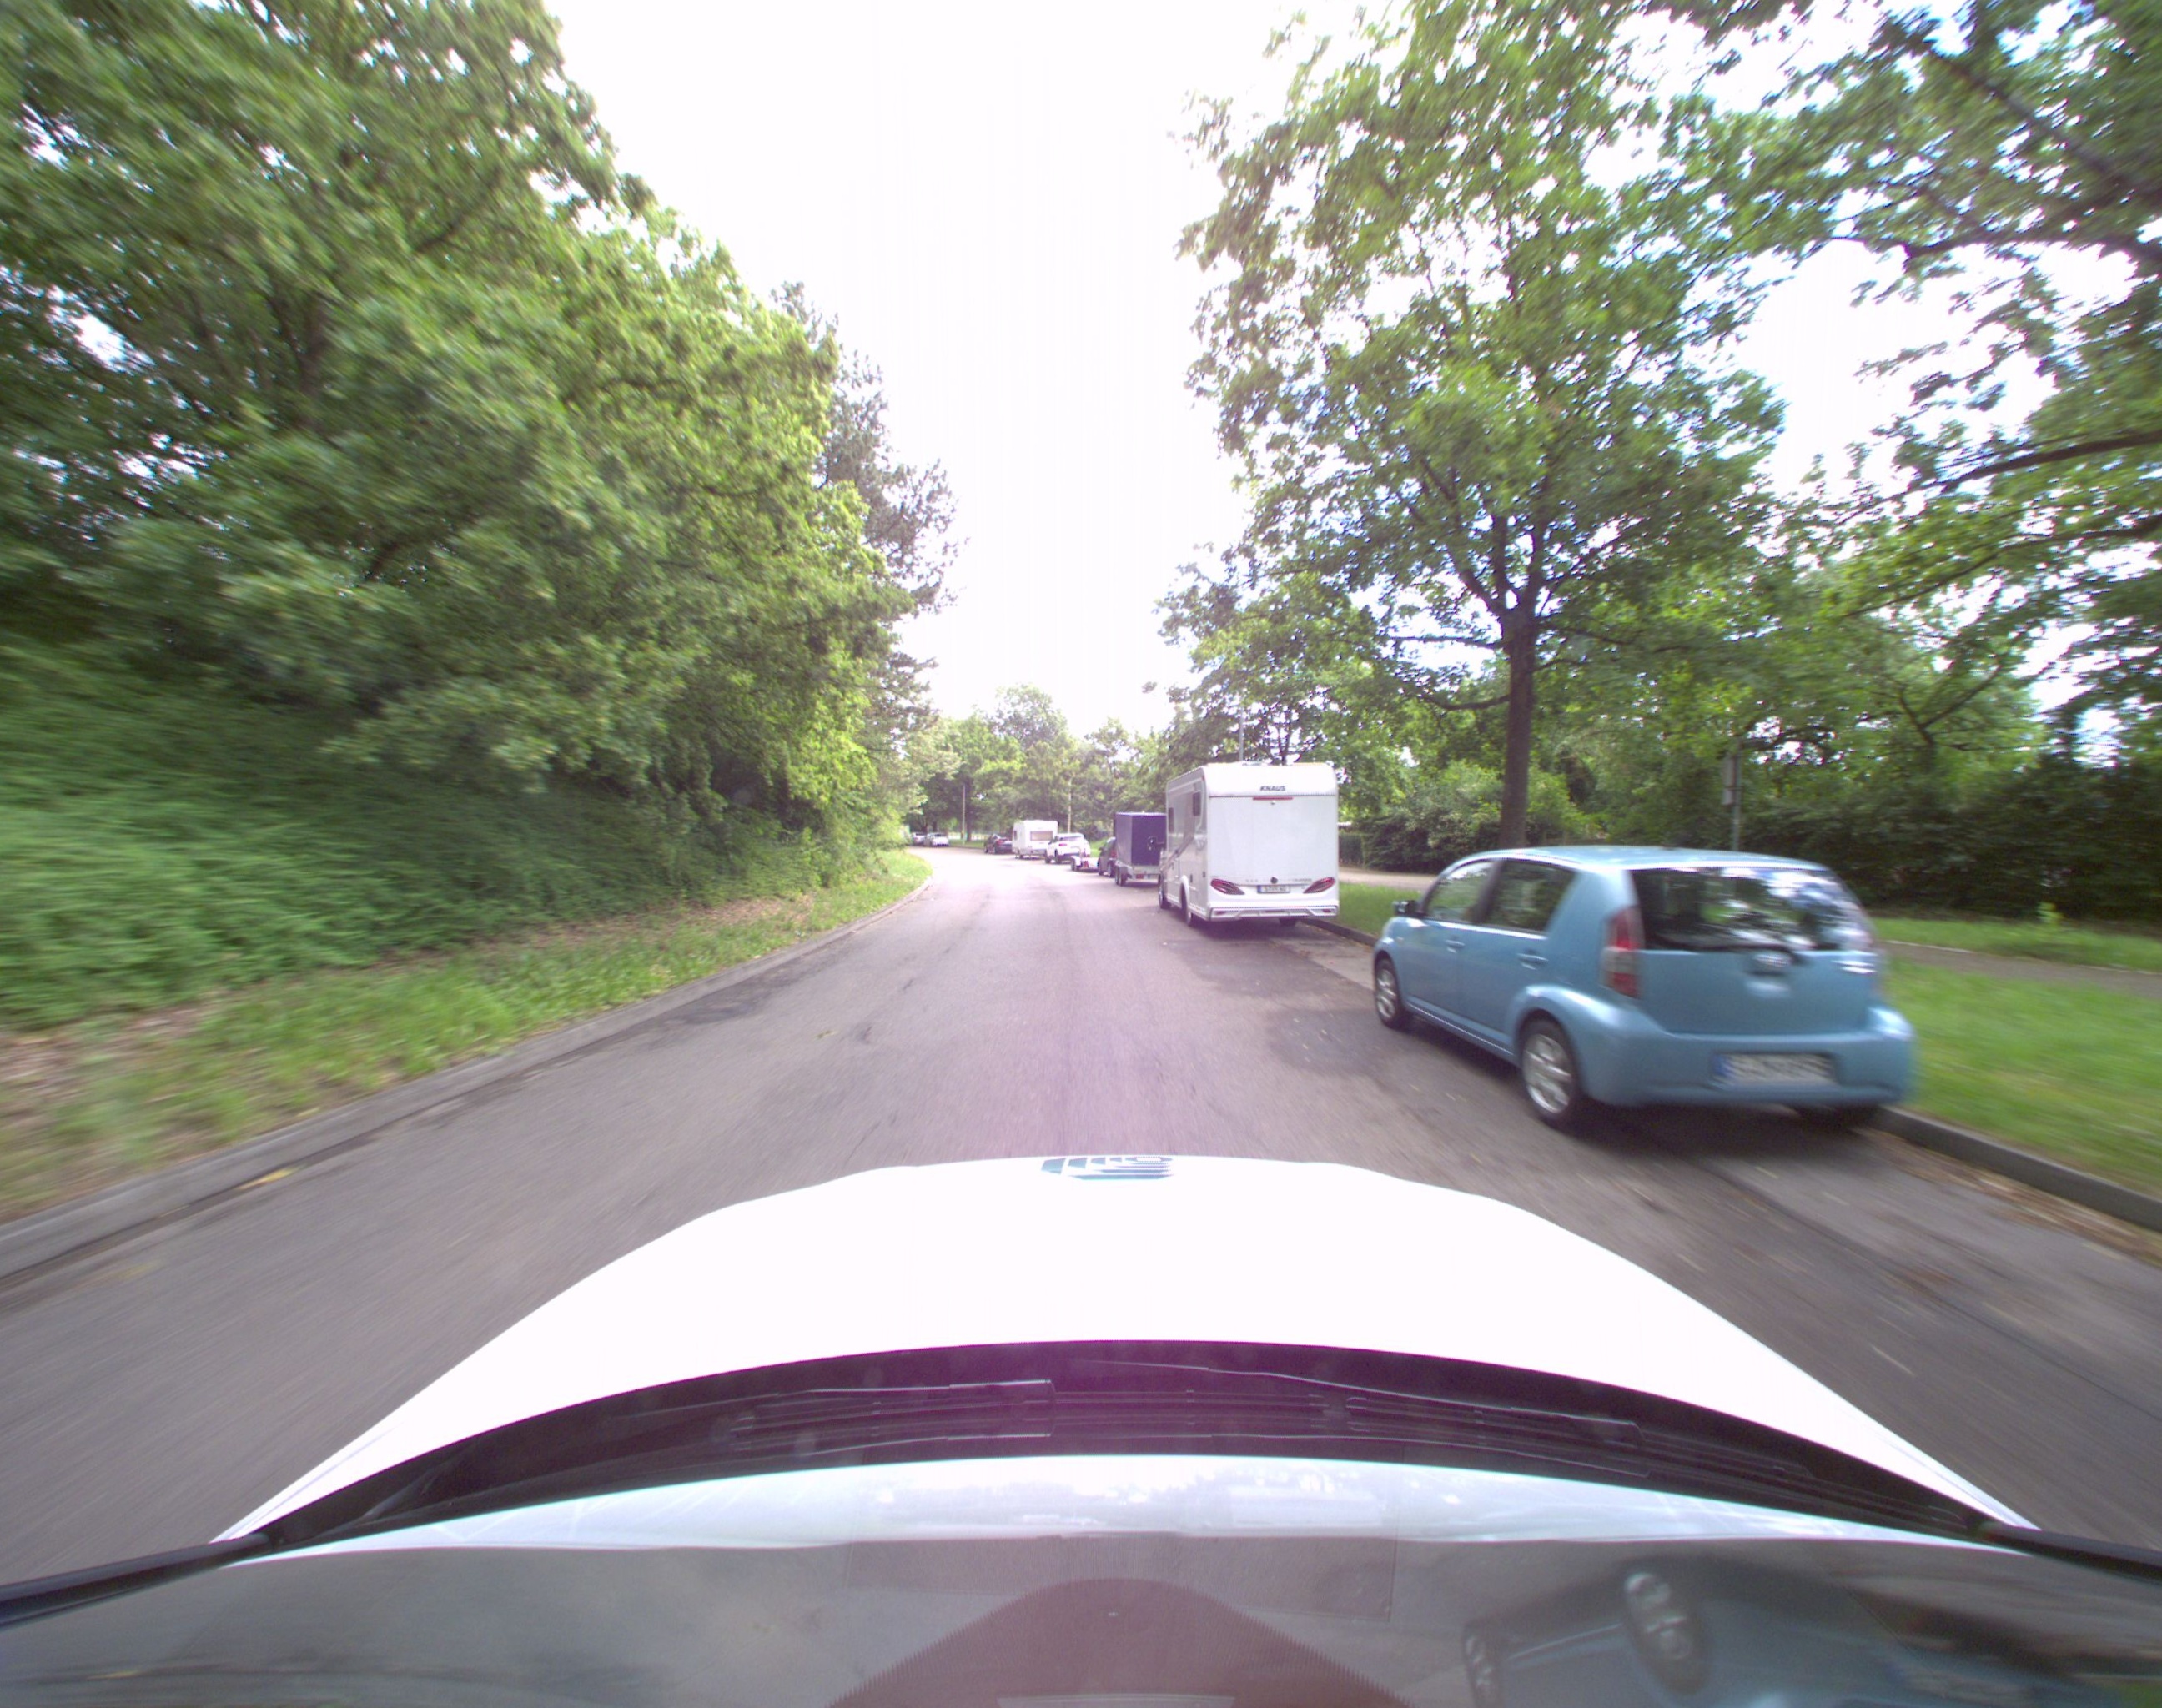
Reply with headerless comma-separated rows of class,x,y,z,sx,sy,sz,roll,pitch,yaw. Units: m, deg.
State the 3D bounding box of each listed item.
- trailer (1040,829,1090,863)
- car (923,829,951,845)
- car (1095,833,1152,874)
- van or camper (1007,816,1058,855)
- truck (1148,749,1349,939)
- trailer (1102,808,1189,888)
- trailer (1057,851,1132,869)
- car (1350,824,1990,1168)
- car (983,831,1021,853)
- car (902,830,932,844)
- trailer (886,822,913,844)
trailer,-0.949,-0.462,46.202,1.775,1.730,4.627,-2,1,-14
car,-14.738,-1.683,83.168,1.911,1.476,4.026,0,-1,-24
car,1.642,0.006,32.269,1.727,1.522,3.397,0,-1,-7
van or camper,-3.354,-1.248,55.012,2.166,2.536,5.998,0,1,-17
truck,2.931,-0.252,16.307,2.298,2.932,7.028,-1,2,-2
trailer,2.046,-0.319,27.238,2.103,2.361,4.694,-2,4,-5
trailer,0.504,0.228,37.913,2.106,0.651,6.375,0,1,-12
car,3.307,0.615,5.586,1.690,1.547,3.768,0,1,0
car,-6.276,-1.000,64.221,1.855,1.642,4.498,-2,2,-21
car,-17.972,-1.853,89.020,1.753,1.525,4.589,-3,2,-32
trailer,-20.906,-2.404,93.503,1.773,2.426,3.848,-3,2,-33
